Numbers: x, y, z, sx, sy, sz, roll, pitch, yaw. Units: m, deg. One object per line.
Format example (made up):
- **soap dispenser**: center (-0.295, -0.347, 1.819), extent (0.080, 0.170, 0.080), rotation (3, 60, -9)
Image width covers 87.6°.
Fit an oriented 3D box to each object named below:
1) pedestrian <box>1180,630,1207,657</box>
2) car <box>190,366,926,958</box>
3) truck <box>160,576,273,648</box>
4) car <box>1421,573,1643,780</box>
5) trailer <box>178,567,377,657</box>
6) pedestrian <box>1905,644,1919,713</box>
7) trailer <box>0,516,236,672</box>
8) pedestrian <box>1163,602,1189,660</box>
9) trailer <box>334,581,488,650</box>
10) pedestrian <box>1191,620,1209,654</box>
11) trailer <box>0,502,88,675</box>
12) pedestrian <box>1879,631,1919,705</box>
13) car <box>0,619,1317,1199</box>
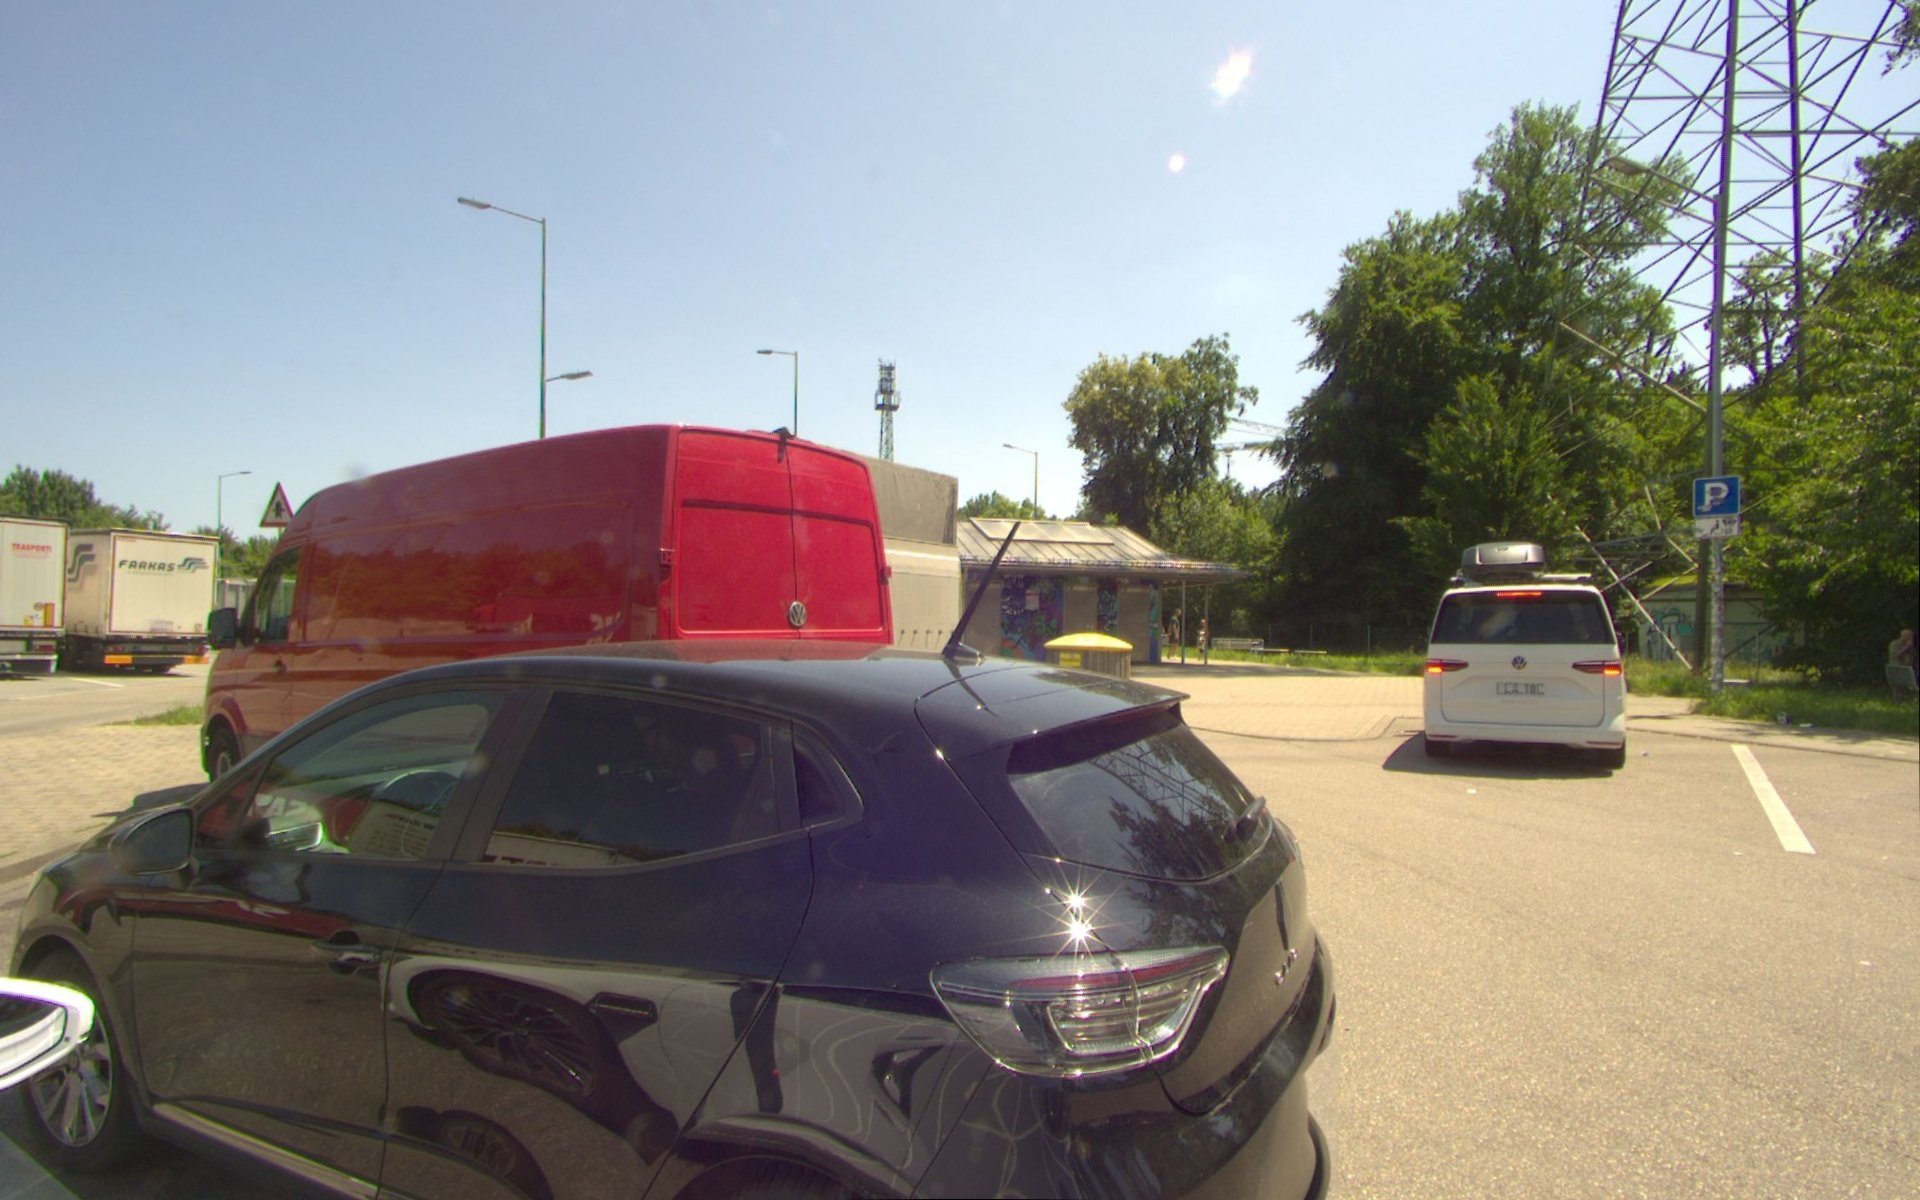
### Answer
- **pedestrian**: center (8.357, 1.562, 35.816), extent (0.763, 0.960, 0.646), rotation (0, -1, -5)
- **car**: center (-3.352, 0.313, 7.361), extent (6.310, 2.731, 2.060), rotation (0, -1, 37)
- **truck**: center (-37.693, 0.577, 50.742), extent (5.405, 3.407, 2.847), rotation (1, -2, 34)
- **car**: center (6.524, 0.774, 11.845), extent (1.881, 1.937, 4.549), rotation (-1, -1, 26)
- **trailer**: center (-32.384, 0.493, 47.143), extent (13.530, 3.764, 2.834), rotation (1, -2, 34)
- **pedestrian**: center (17.192, 1.362, 17.480), extent (0.876, 1.192, 0.666), rotation (-1, -2, 32)
- **trailer**: center (-27.658, -0.186, 31.632), extent (13.523, 4.185, 2.835), rotation (1, -2, 33)
- **pedestrian**: center (7.859, 1.124, 36.445), extent (0.763, 2.067, 0.646), rotation (0, -1, -5)
- **trailer**: center (-36.048, 0.928, 65.436), extent (13.530, 4.101, 2.834), rotation (1, -2, 34)
- **pedestrian**: center (10.924, 1.669, 45.559), extent (0.633, 1.547, 0.565), rotation (0, -1, -3)
- **trailer**: center (-28.967, -0.365, 28.152), extent (13.523, 4.185, 2.835), rotation (1, -2, 33)
- **pedestrian**: center (18.647, 1.327, 19.734), extent (0.660, 1.422, 0.647), rotation (-1, -1, 33)
- **car**: center (-1.060, 0.837, 2.909), extent (3.757, 1.501, 1.736), rotation (0, -1, 27)
